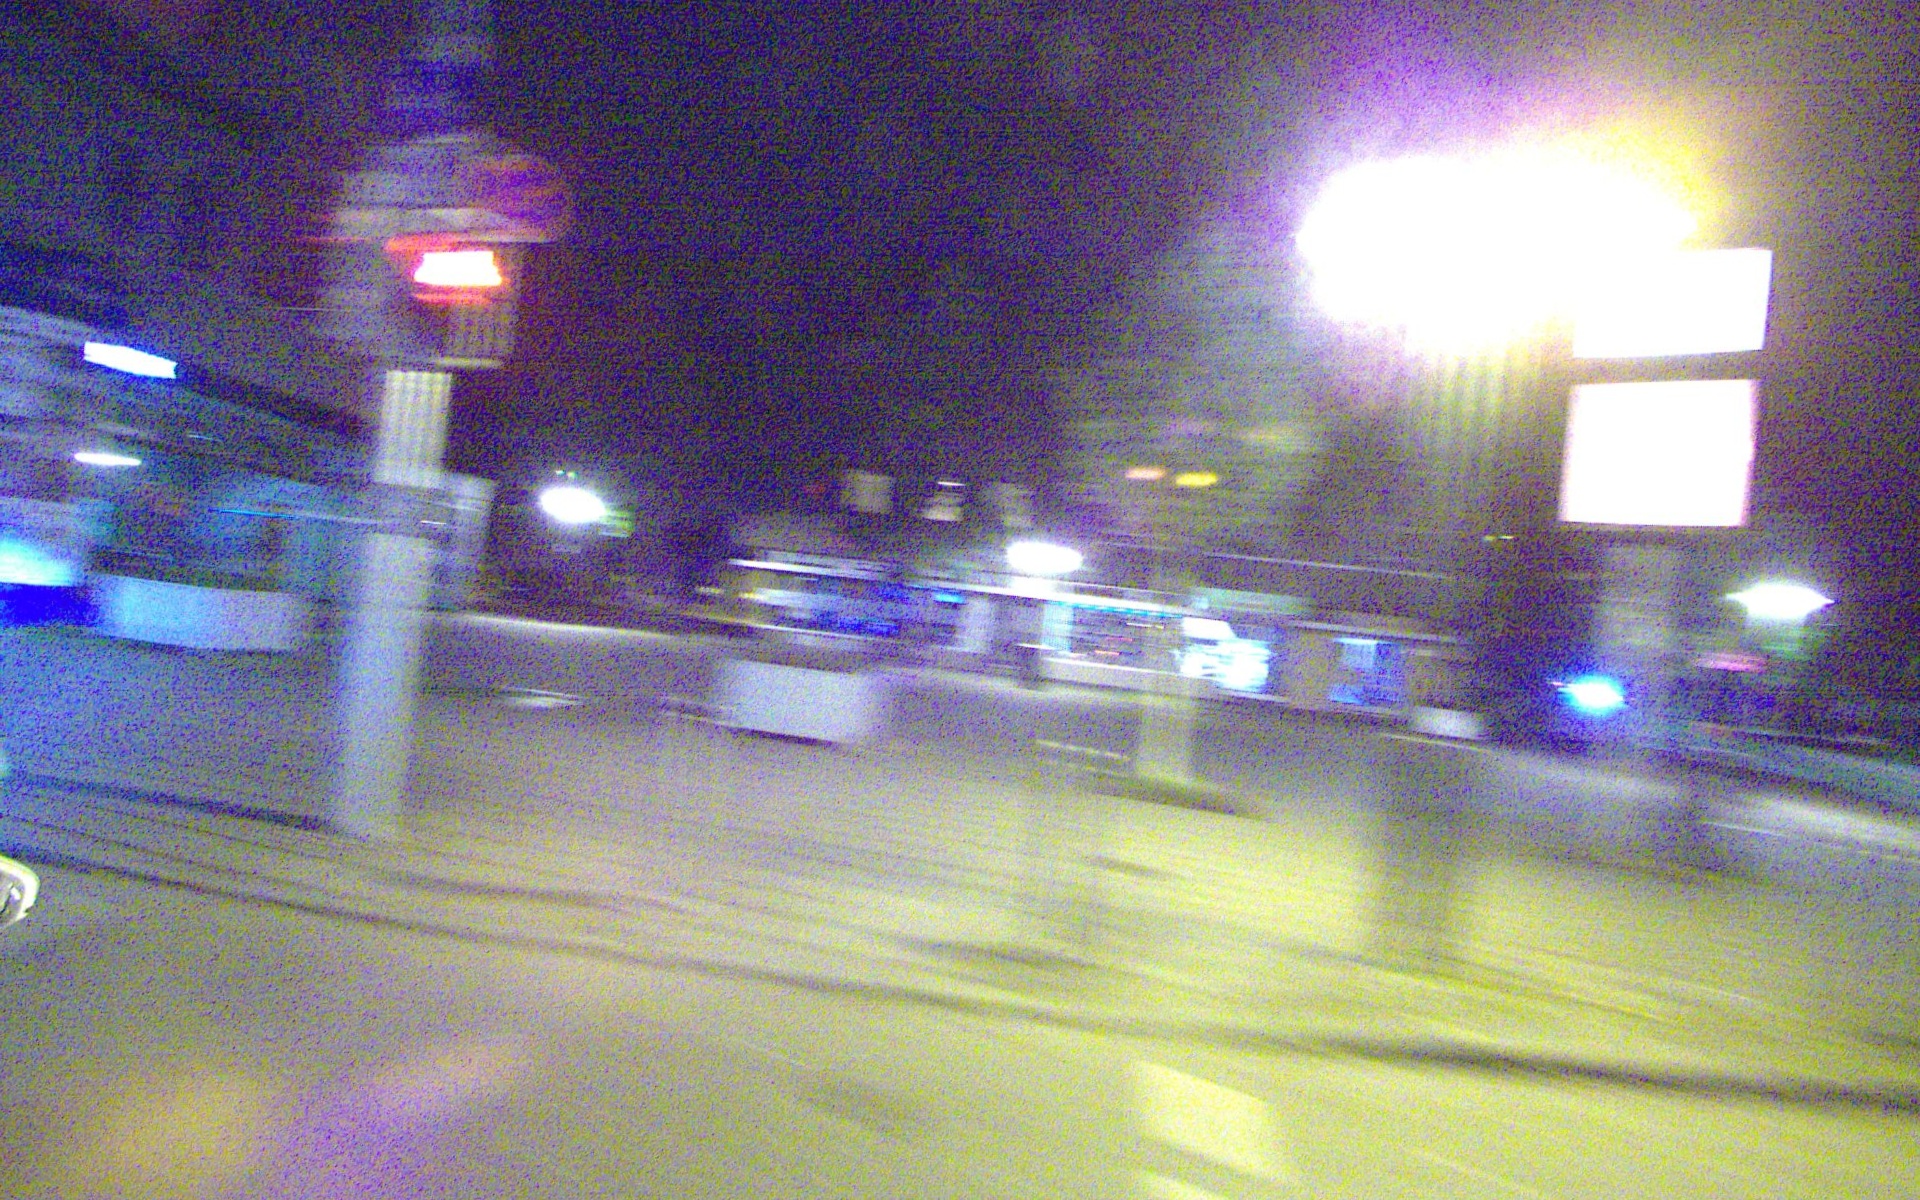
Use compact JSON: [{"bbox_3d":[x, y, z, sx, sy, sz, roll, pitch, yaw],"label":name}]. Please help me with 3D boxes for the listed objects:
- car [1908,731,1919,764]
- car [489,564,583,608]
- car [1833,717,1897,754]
[{"bbox_3d":[45.145,6.951,45.845,1.863,1.470,3.888,8,0,31],"label":"car"},{"bbox_3d":[-17.869,-0.549,42.605,1.888,1.469,4.001,8,0,5],"label":"car"},{"bbox_3d":[51.401,7.669,57.221,1.981,1.645,3.886,8,0,34],"label":"car"}]
